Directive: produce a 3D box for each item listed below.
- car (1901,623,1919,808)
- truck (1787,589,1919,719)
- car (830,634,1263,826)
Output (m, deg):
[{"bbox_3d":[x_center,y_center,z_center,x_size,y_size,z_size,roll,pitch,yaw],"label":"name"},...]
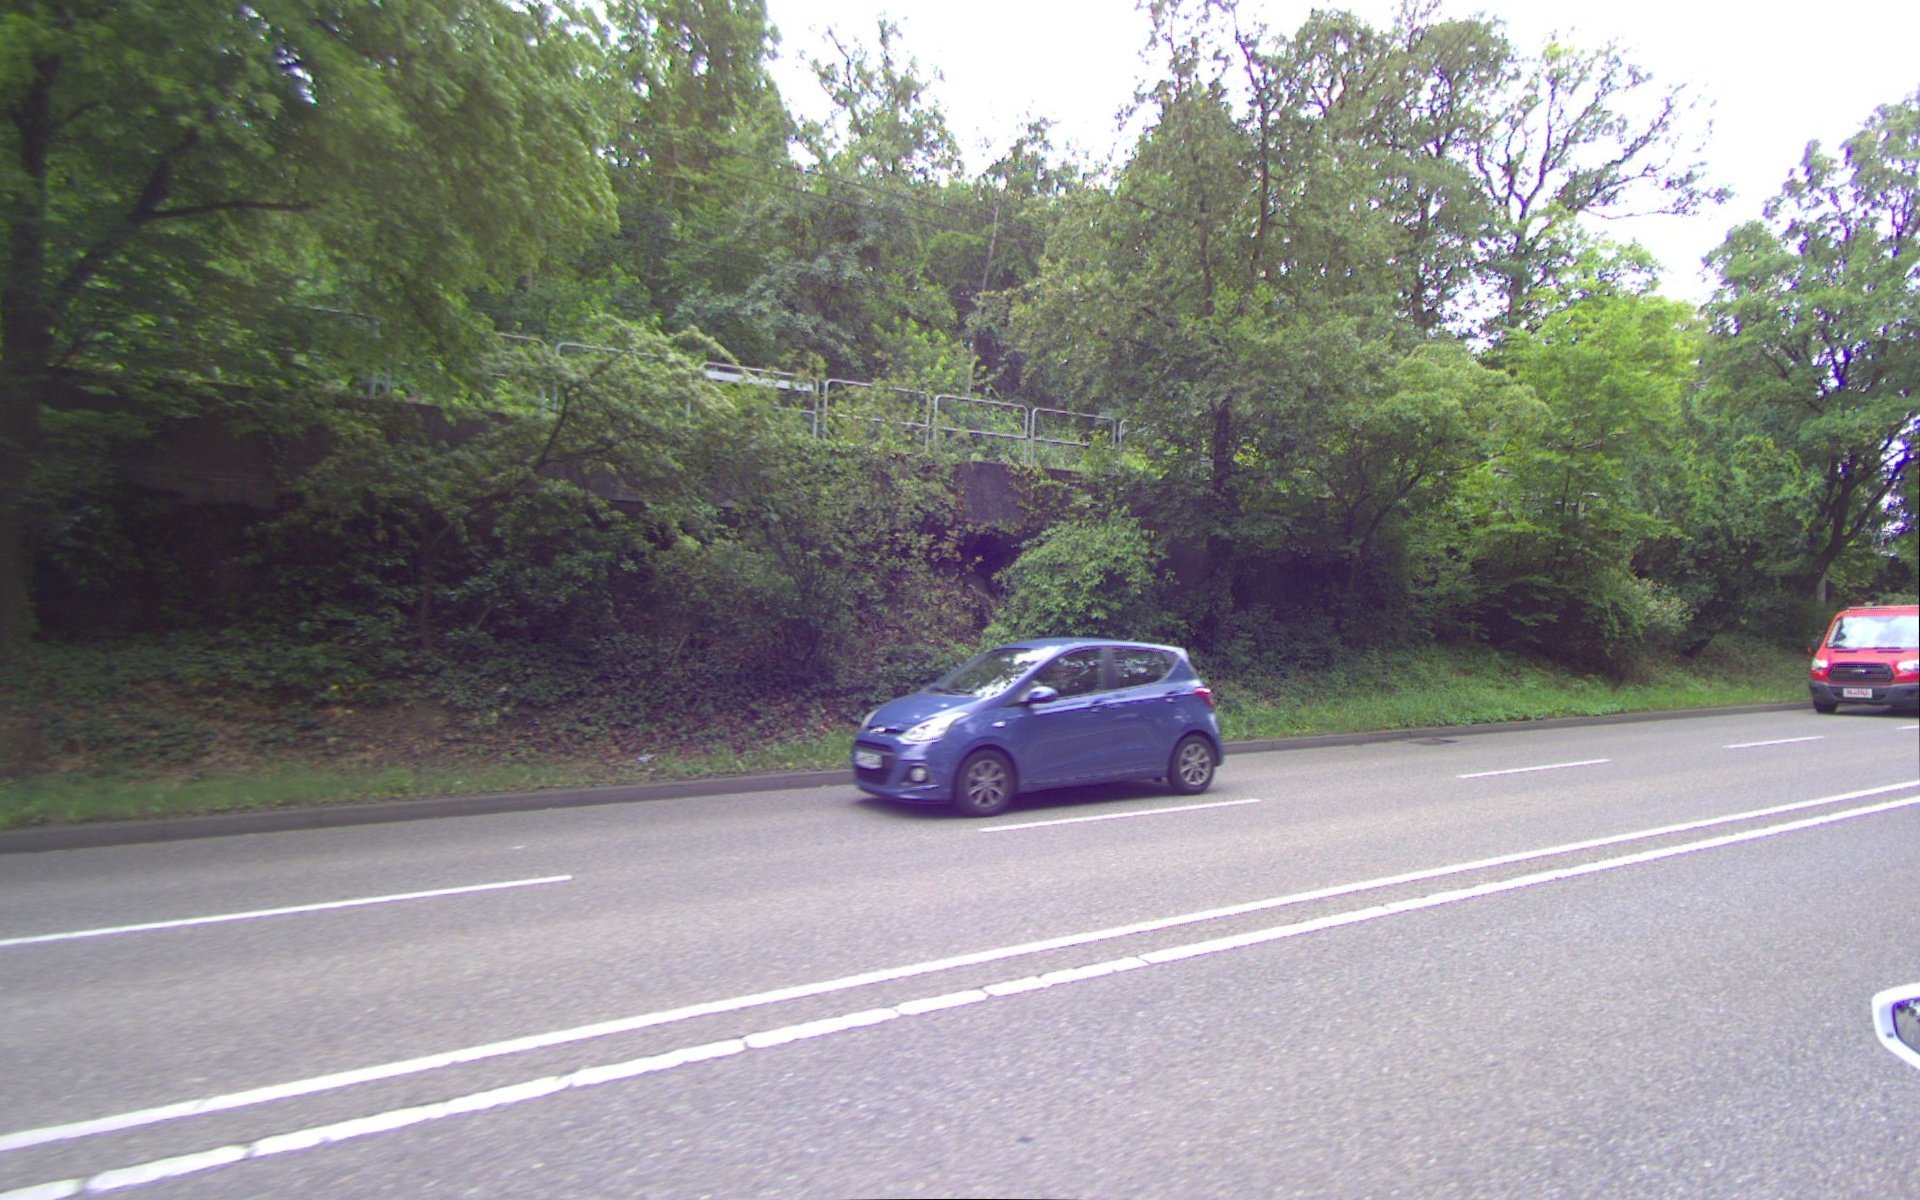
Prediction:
[{"bbox_3d":[9.835,0.981,8.319,3.953,1.485,1.940,2,-1,-30],"label":"car"},{"bbox_3d":[20.376,1.130,21.323,6.386,2.443,2.168,2,-2,-29],"label":"truck"},{"bbox_3d":[0.899,1.112,9.656,3.955,1.505,1.662,2,-3,-31],"label":"car"}]
